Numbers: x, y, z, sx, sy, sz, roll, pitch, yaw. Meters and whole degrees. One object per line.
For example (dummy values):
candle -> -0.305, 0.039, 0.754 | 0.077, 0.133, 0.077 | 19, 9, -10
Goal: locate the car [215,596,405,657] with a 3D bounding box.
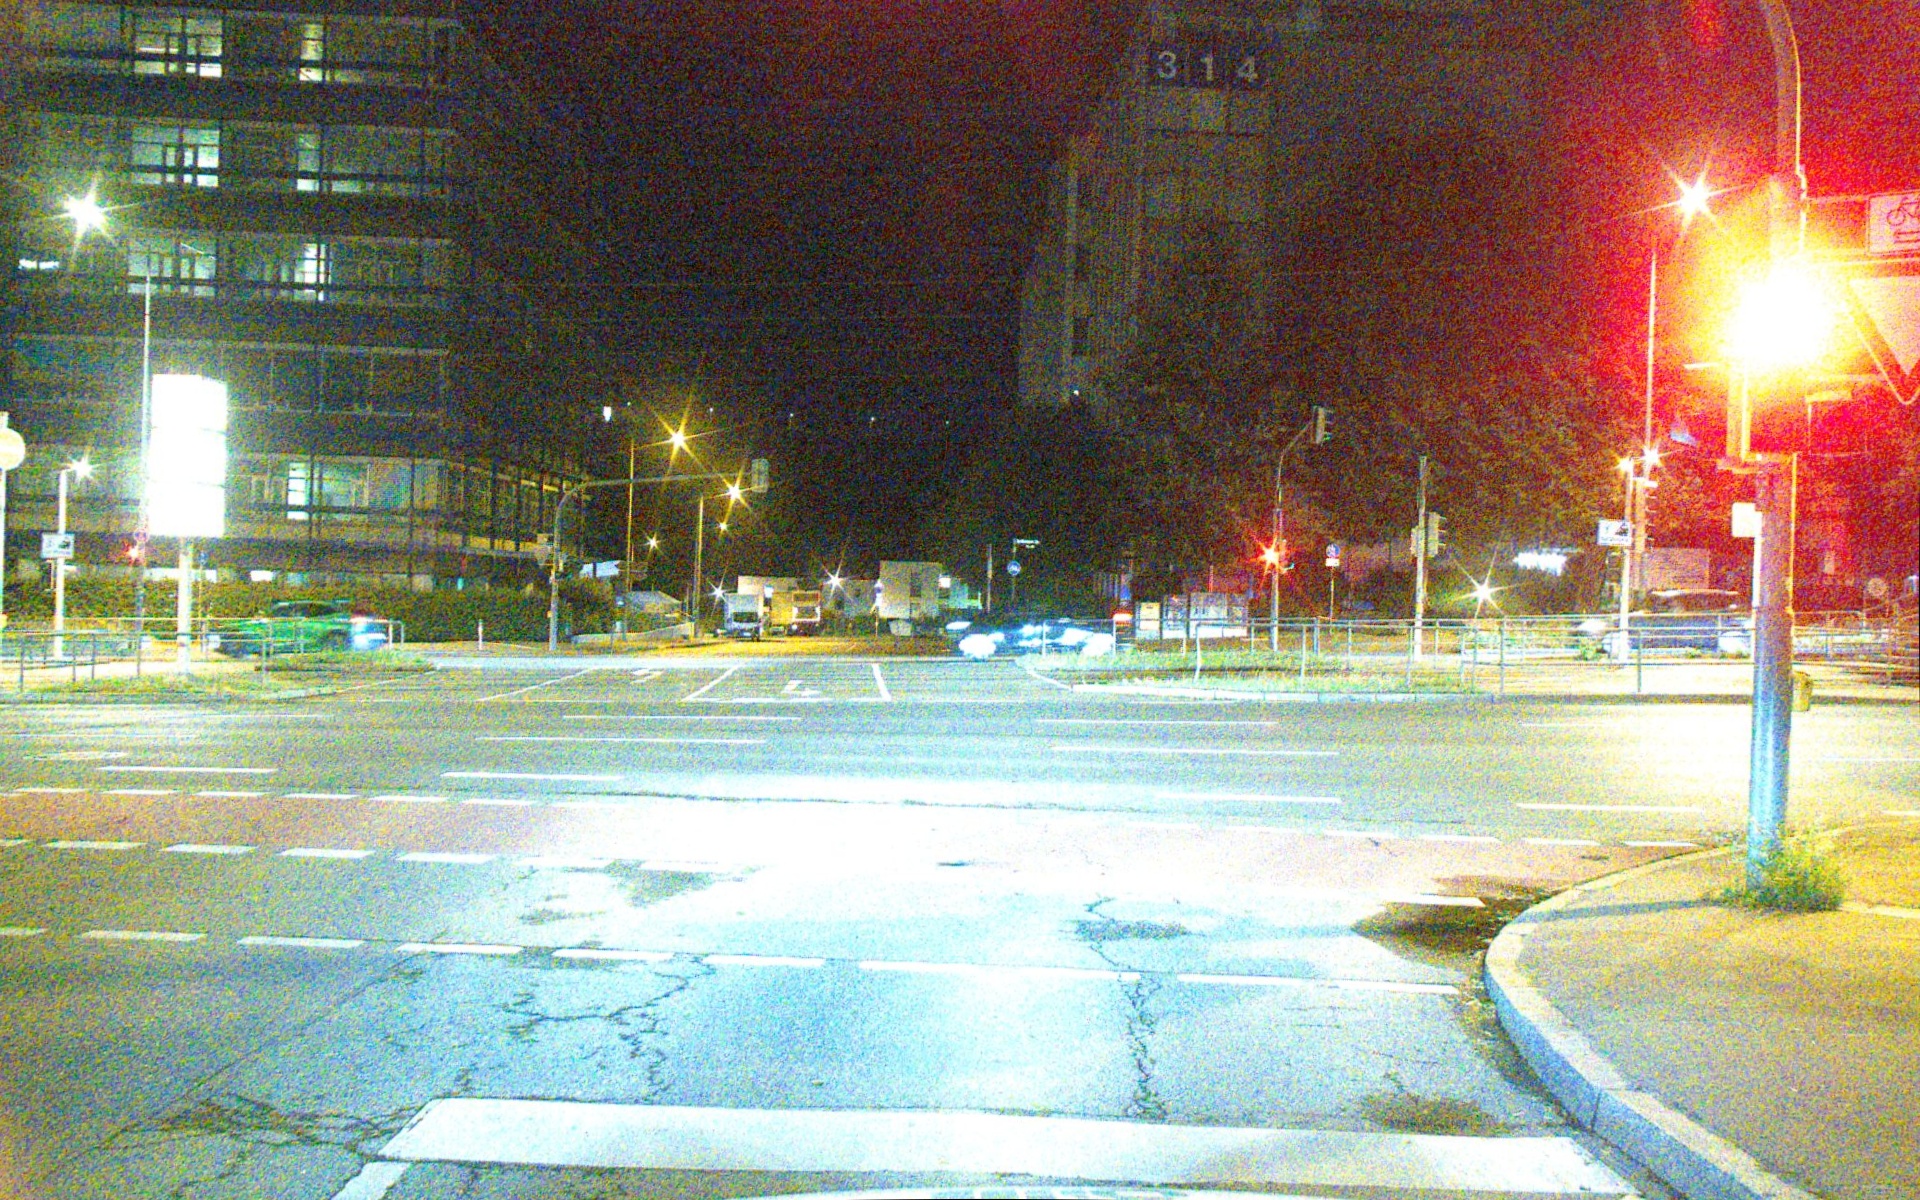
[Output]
car -> -16.184, 0.649, 41.316 | 3.976, 1.449, 1.843 | 0, 2, 1

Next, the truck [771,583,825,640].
truck -> -14.627, 1.025, 148.607 | 3.307, 4.927, 7.868 | 2, -1, -17

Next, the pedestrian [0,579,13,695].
pedestrian -> -14.810, 0.545, 24.847 | 0.664, 1.752, 0.705 | 1, -1, 26

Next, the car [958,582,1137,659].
car -> 1.969, 0.456, 37.296 | 3.903, 1.613, 1.804 | -1, 0, 3

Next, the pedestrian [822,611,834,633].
pedestrian -> -11.764, 1.955, 147.325 | 0.836, 1.945, 1.001 | 2, -1, -18

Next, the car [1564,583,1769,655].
car -> 16.863, 0.461, 39.624 | 4.145, 1.613, 1.804 | 1, -1, 3

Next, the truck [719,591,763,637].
truck -> -15.839, 1.019, 119.436 | 2.377, 3.143, 6.414 | 2, -1, -14
